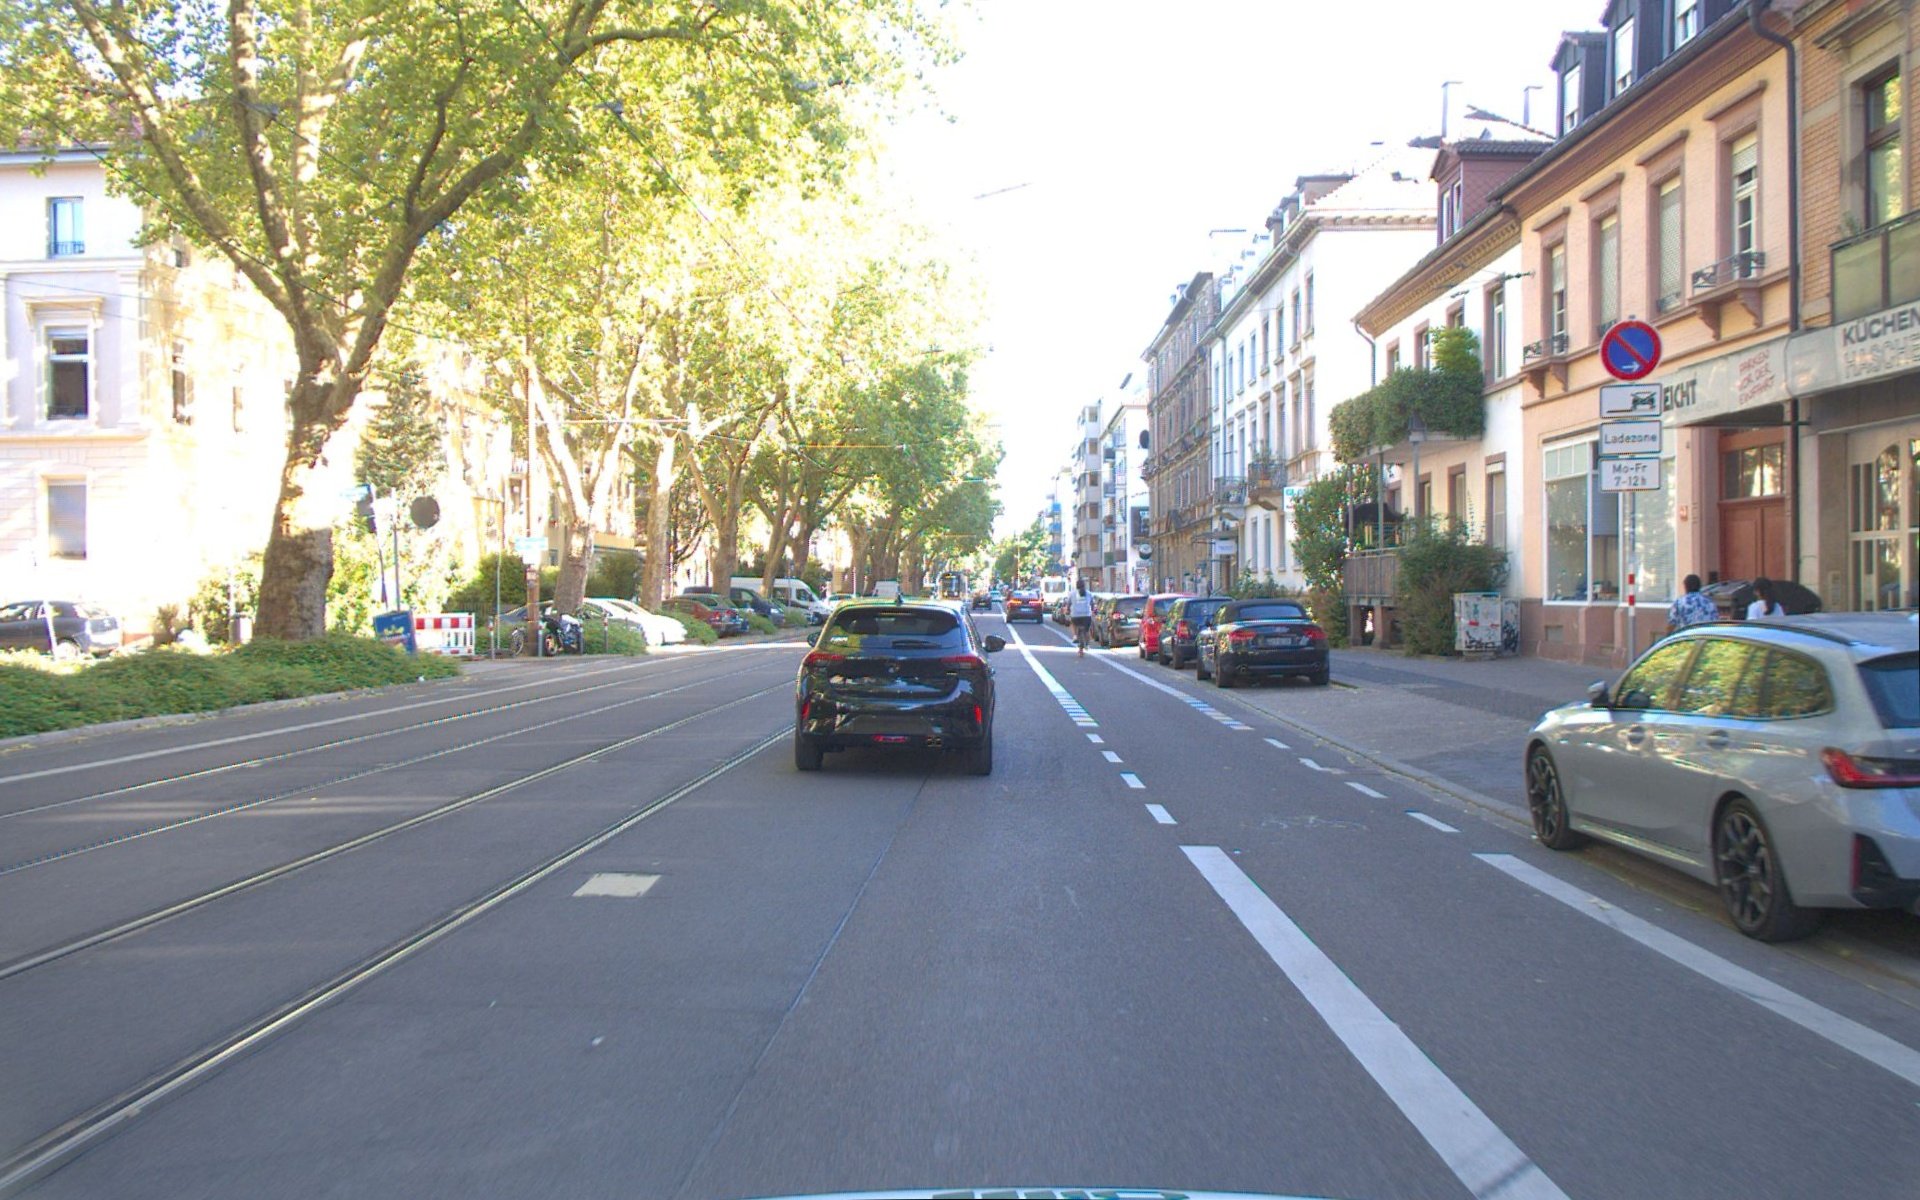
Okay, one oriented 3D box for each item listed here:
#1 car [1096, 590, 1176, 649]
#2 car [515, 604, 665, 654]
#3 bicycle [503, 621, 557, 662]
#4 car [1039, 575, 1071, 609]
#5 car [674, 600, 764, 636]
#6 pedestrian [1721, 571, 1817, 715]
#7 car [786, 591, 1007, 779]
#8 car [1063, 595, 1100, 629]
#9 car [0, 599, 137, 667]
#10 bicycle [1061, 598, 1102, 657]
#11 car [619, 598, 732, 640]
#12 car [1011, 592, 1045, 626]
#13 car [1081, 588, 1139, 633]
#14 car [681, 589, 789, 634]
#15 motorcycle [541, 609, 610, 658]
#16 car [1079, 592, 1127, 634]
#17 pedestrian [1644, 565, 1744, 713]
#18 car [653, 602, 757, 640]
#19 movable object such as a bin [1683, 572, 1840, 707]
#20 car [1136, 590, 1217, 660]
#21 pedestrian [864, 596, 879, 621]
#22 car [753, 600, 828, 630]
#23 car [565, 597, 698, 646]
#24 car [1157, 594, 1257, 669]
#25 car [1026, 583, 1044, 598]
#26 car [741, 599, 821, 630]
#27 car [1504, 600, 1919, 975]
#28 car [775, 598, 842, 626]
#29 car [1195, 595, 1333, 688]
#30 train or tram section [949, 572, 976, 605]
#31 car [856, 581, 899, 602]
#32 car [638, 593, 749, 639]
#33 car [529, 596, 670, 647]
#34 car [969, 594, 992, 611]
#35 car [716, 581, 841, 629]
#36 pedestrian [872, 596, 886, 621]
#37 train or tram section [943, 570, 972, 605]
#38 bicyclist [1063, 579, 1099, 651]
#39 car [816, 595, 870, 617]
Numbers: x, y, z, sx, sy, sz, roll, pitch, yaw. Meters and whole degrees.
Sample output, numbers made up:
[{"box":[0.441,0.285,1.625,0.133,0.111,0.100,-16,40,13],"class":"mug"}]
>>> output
[{"box":[5.415,0.596,51.376,1.842,1.613,3.931,-4,0,-2],"class":"car"},{"box":[-10.578,0.816,47.452,3.838,1.355,1.848,1,0,2],"class":"car"},{"box":[-10.803,1.031,41.617,0.529,0.957,2.036,0,0,9],"class":"bicycle"},{"box":[6.772,-0.567,118.086,2.033,2.257,4.935,-4,0,2],"class":"car"},{"box":[-10.538,0.782,72.541,3.657,1.524,1.747,1,0,1],"class":"car"},{"box":[8.663,0.450,17.727,0.644,1.509,0.785,0,0,0],"class":"pedestrian"},{"box":[-0.477,0.665,14.917,1.757,1.466,3.532,0,1,1],"class":"car"},{"box":[5.931,0.575,80.488,1.669,1.481,3.699,-4,0,4],"class":"car"},{"box":[-21.866,0.784,39.335,3.698,1.443,1.695,-1,3,2],"class":"car"},{"box":[3.025,0.668,41.273,0.843,1.431,2.524,0,0,0],"class":"bicycle"},{"box":[-10.563,0.703,61.478,3.839,1.467,1.749,1,0,1],"class":"car"},{"box":[3.661,0.490,89.135,1.772,1.772,3.934,-1,0,2],"class":"car"},{"box":[5.487,0.384,60.778,1.841,1.481,4.027,-4,0,2],"class":"car"},{"box":[-10.243,0.515,75.468,4.578,1.957,1.980,1,0,2],"class":"car"},{"box":[-9.692,0.829,41.818,0.865,1.167,2.392,0,0,9],"class":"motorcycle"},{"box":[5.738,0.510,66.746,1.675,1.509,3.765,-4,0,2],"class":"car"},{"box":[7.870,0.412,17.766,0.646,1.531,0.866,-2,0,0],"class":"pedestrian"},{"box":[-10.167,0.834,66.033,3.840,1.446,1.818,1,0,-1],"class":"car"},{"box":[9.519,0.454,19.710,1.266,1.547,1.286,0,0,1],"class":"movable object such as a bin"},{"box":[5.203,0.588,40.036,1.600,1.573,3.577,-2,0,2],"class":"car"},{"box":[-5.810,0.560,108.598,0.756,1.594,0.676,0,0,-22],"class":"pedestrian"},{"box":[-8.987,0.788,87.926,3.840,1.524,1.677,1,0,-1],"class":"car"},{"box":[-10.475,0.687,52.840,3.838,1.488,1.806,-1,0,1],"class":"car"},{"box":[5.243,0.644,35.513,1.617,1.481,3.869,-2,0,1],"class":"car"},{"box":[7.655,-0.991,168.459,1.772,1.361,3.934,-4,0,2],"class":"car"},{"box":[-9.192,0.744,84.990,3.838,1.524,1.678,1,0,2],"class":"car"},{"box":[4.597,0.755,8.984,1.772,1.460,4.665,-2,0,1],"class":"car"},{"box":[-9.108,0.722,99.627,3.840,1.605,1.676,1,0,-2],"class":"car"},{"box":[5.081,0.653,28.171,1.658,1.417,4.496,-2,0,2],"class":"car"},{"box":[0.348,-1.310,198.063,2.678,3.746,12.720,-1,0,2],"class":"train or tram section"},{"box":[-7.570,-0.770,151.940,3.840,1.821,1.676,1,0,-2],"class":"car"},{"box":[-10.208,0.613,63.630,3.912,1.655,1.879,1,0,1],"class":"car"},{"box":[-10.876,0.640,50.053,3.840,1.478,1.800,0,0,1],"class":"car"},{"box":[1.736,0.228,138.556,1.772,1.362,3.934,0,0,2],"class":"car"},{"box":[-9.891,0.267,90.563,6.491,2.451,2.458,1,0,1],"class":"car"},{"box":[-5.355,0.558,109.535,0.756,1.594,0.676,0,0,-22],"class":"pedestrian"},{"box":[-0.185,-1.329,185.425,2.678,3.746,12.720,-1,0,2],"class":"train or tram section"},{"box":[3.015,0.362,41.317,0.830,1.770,1.162,0,0,0],"class":"bicyclist"},{"box":[-8.555,0.423,121.533,3.840,1.524,1.676,1,0,-2],"class":"car"}]
